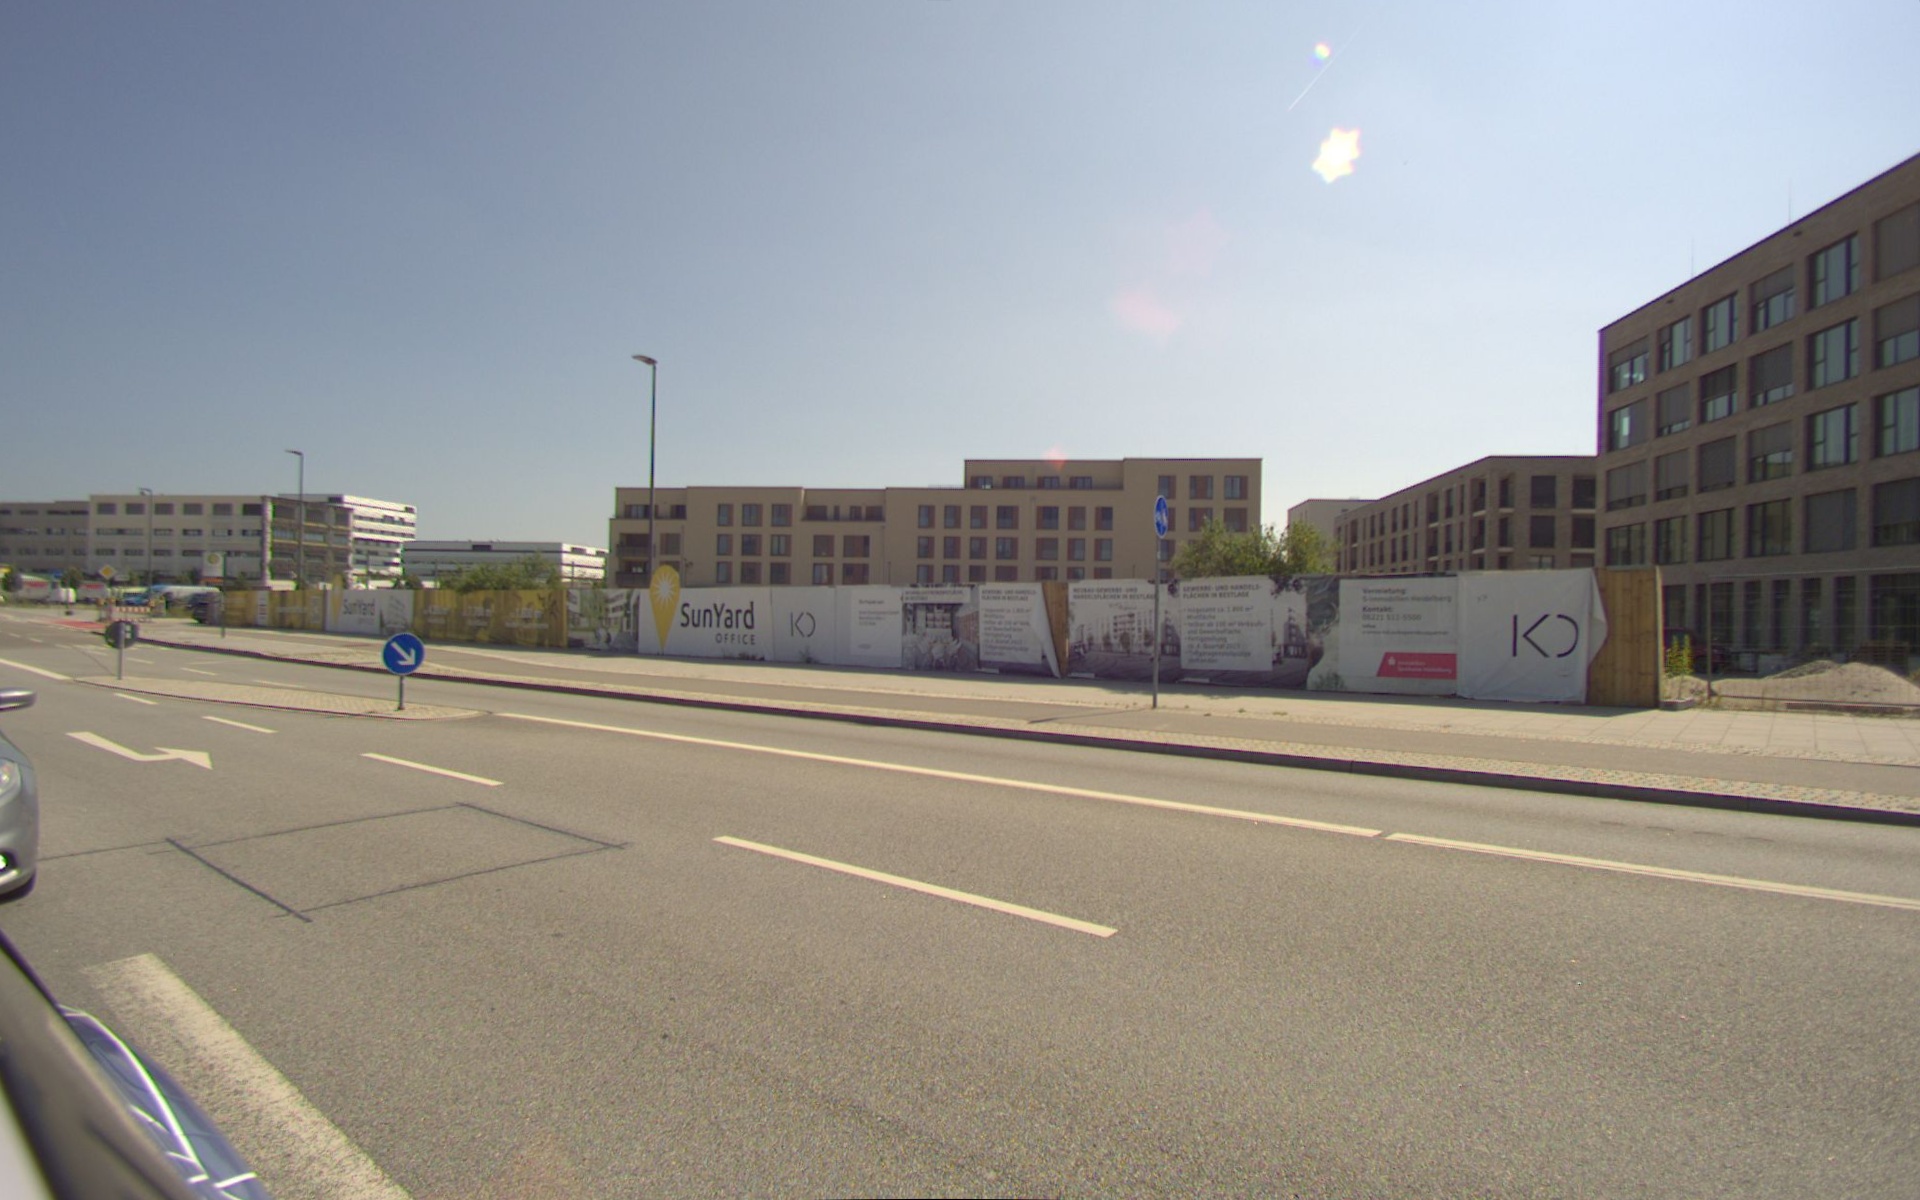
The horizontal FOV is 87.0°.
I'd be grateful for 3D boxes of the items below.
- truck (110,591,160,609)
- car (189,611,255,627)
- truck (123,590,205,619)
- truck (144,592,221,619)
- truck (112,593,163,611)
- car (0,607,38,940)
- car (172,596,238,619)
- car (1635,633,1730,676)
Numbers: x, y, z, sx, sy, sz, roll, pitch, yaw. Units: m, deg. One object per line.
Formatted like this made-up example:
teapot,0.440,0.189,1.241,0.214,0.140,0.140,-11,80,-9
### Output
truck,-120.325,-0.024,147.636,1.998,2.494,5.346,0,1,38
car,-48.327,1.230,66.326,1.293,0.960,3.315,0,1,43
truck,-72.495,0.381,92.285,1.996,2.494,5.567,0,1,36
truck,-67.063,0.418,87.345,1.998,2.245,4.942,0,1,39
truck,-114.902,0.291,141.391,1.996,2.494,5.270,0,1,36
car,-6.399,0.781,5.352,4.345,1.478,1.796,0,0,41
car,-60.286,0.597,80.841,1.888,1.731,3.885,0,1,35
car,32.019,2.388,44.980,1.814,1.666,3.772,0,0,7
